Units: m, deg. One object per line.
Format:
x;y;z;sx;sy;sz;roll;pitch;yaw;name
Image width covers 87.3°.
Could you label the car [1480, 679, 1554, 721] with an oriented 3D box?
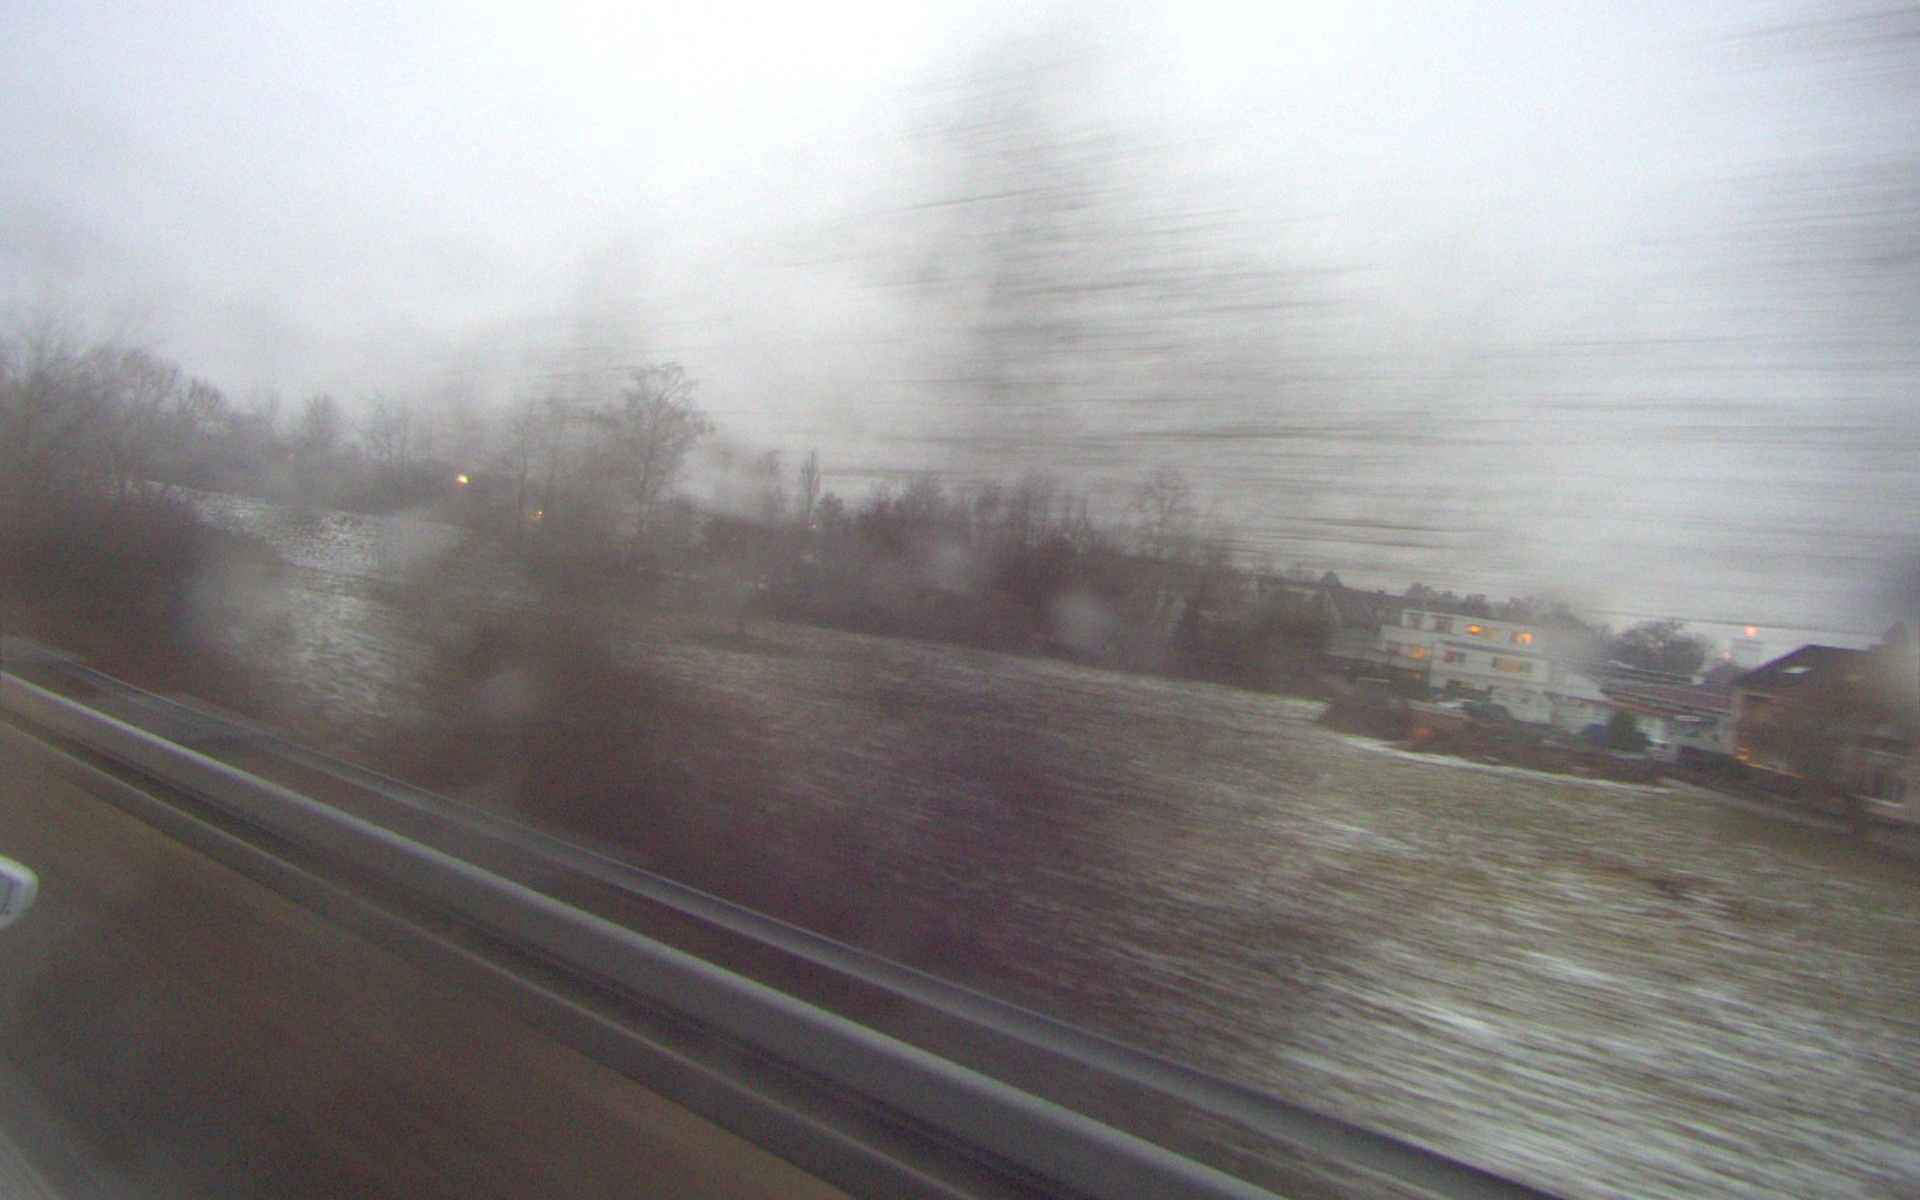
49.465;8.847;89.496;2.254;2.875;6.107;7;0;-8;car
